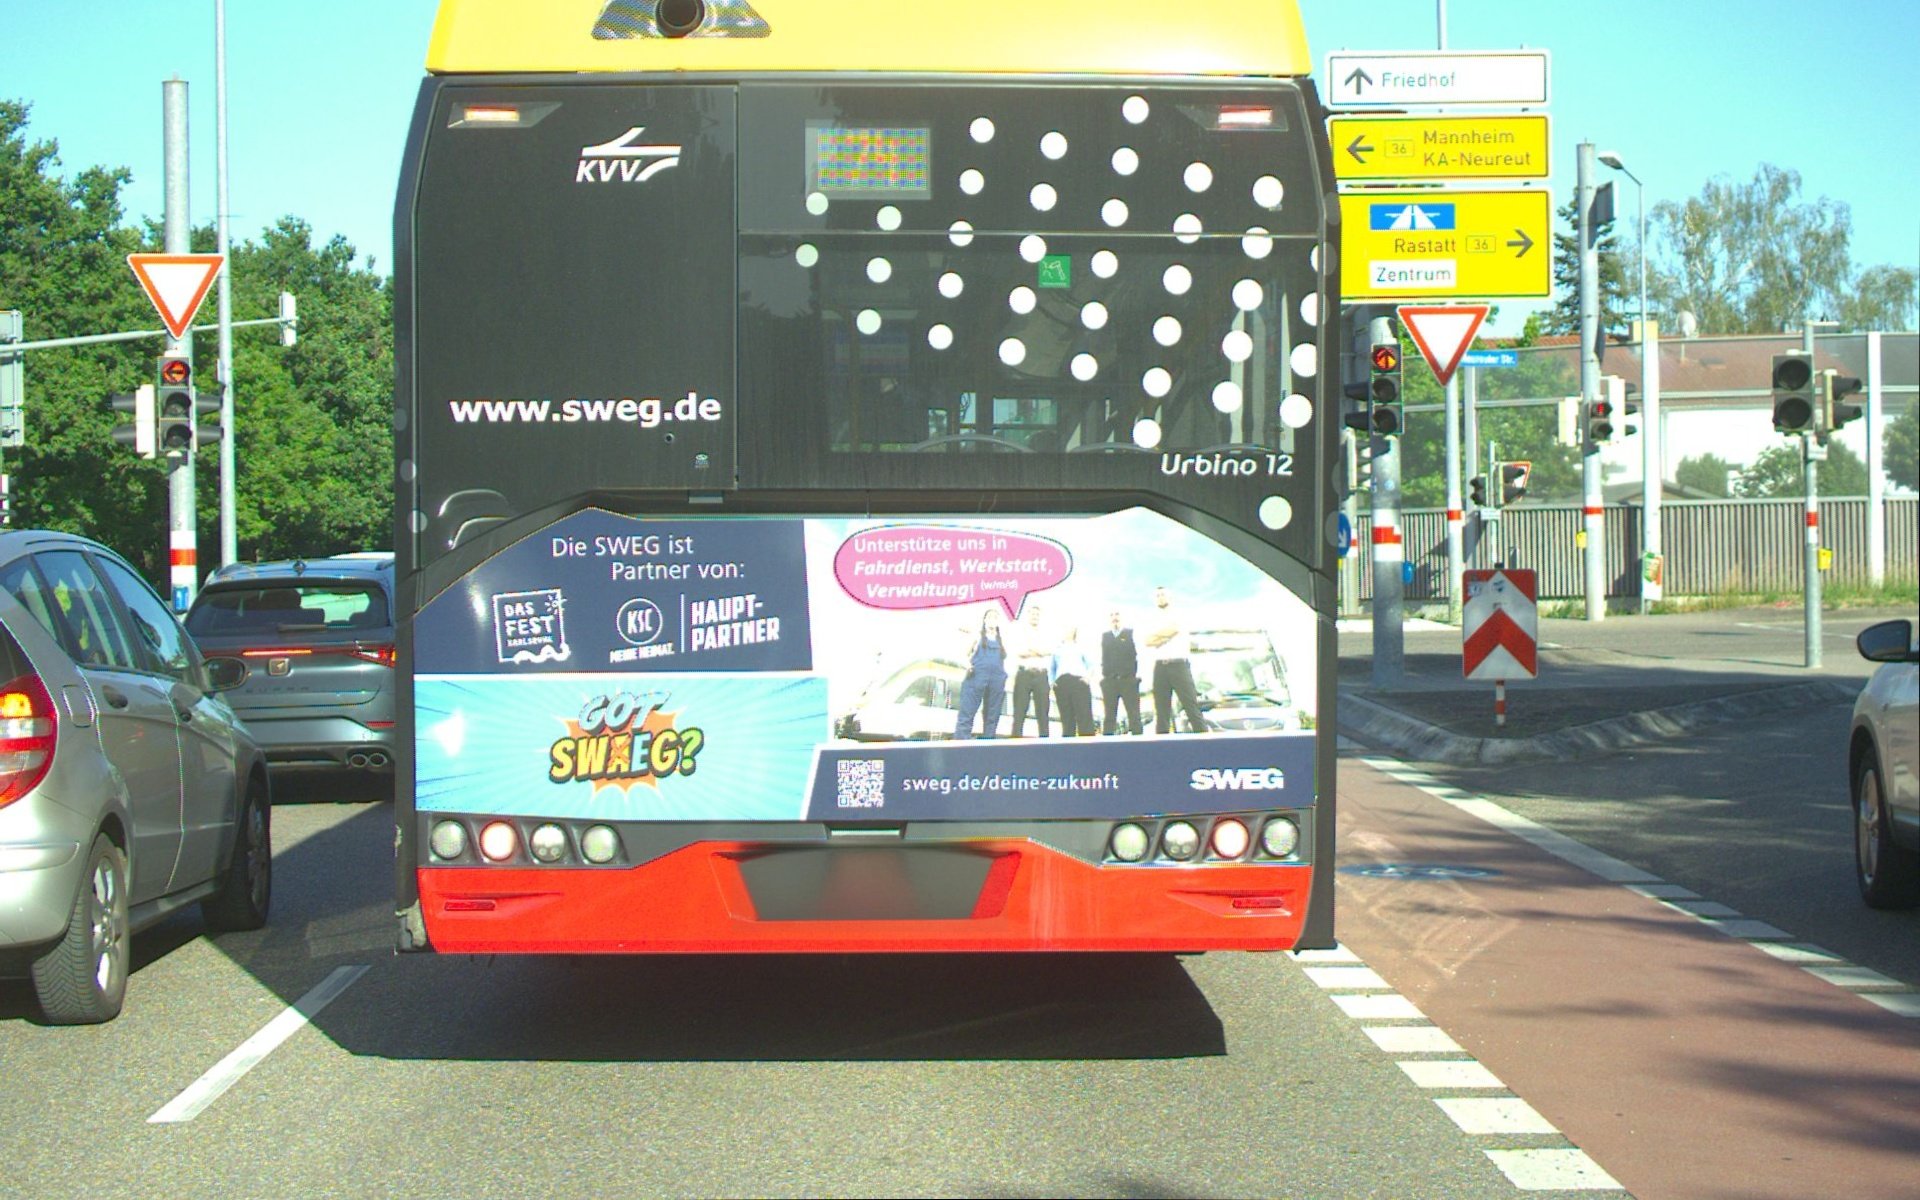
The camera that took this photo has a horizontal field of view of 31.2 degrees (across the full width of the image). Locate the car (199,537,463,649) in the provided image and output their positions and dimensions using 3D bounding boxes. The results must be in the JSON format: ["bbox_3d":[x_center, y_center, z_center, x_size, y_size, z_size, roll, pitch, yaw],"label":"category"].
[{"bbox_3d":[-9.452,-0.108,51.885,3.806,1.607,1.707,1,0,-6],"label":"car"}]

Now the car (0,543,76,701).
[{"bbox_3d":[-10.244,0.254,33.028,1.763,1.521,4.079,-2,1,11],"label":"car"}]

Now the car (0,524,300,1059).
[{"bbox_3d":[-3.598,0.562,12.201,1.761,1.584,4.000,-2,1,-1],"label":"car"}]

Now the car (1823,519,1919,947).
[{"bbox_3d":[4.447,0.510,12.540,1.717,1.602,4.067,0,1,3],"label":"car"}]

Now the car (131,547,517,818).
[{"bbox_3d":[-3.805,0.431,21.133,1.692,1.453,3.751,-2,1,-1],"label":"car"}]

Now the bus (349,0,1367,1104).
[{"bbox_3d":[-0.286,-0.401,14.899,2.642,3.156,11.861,0,1,0],"label":"bus"}]
